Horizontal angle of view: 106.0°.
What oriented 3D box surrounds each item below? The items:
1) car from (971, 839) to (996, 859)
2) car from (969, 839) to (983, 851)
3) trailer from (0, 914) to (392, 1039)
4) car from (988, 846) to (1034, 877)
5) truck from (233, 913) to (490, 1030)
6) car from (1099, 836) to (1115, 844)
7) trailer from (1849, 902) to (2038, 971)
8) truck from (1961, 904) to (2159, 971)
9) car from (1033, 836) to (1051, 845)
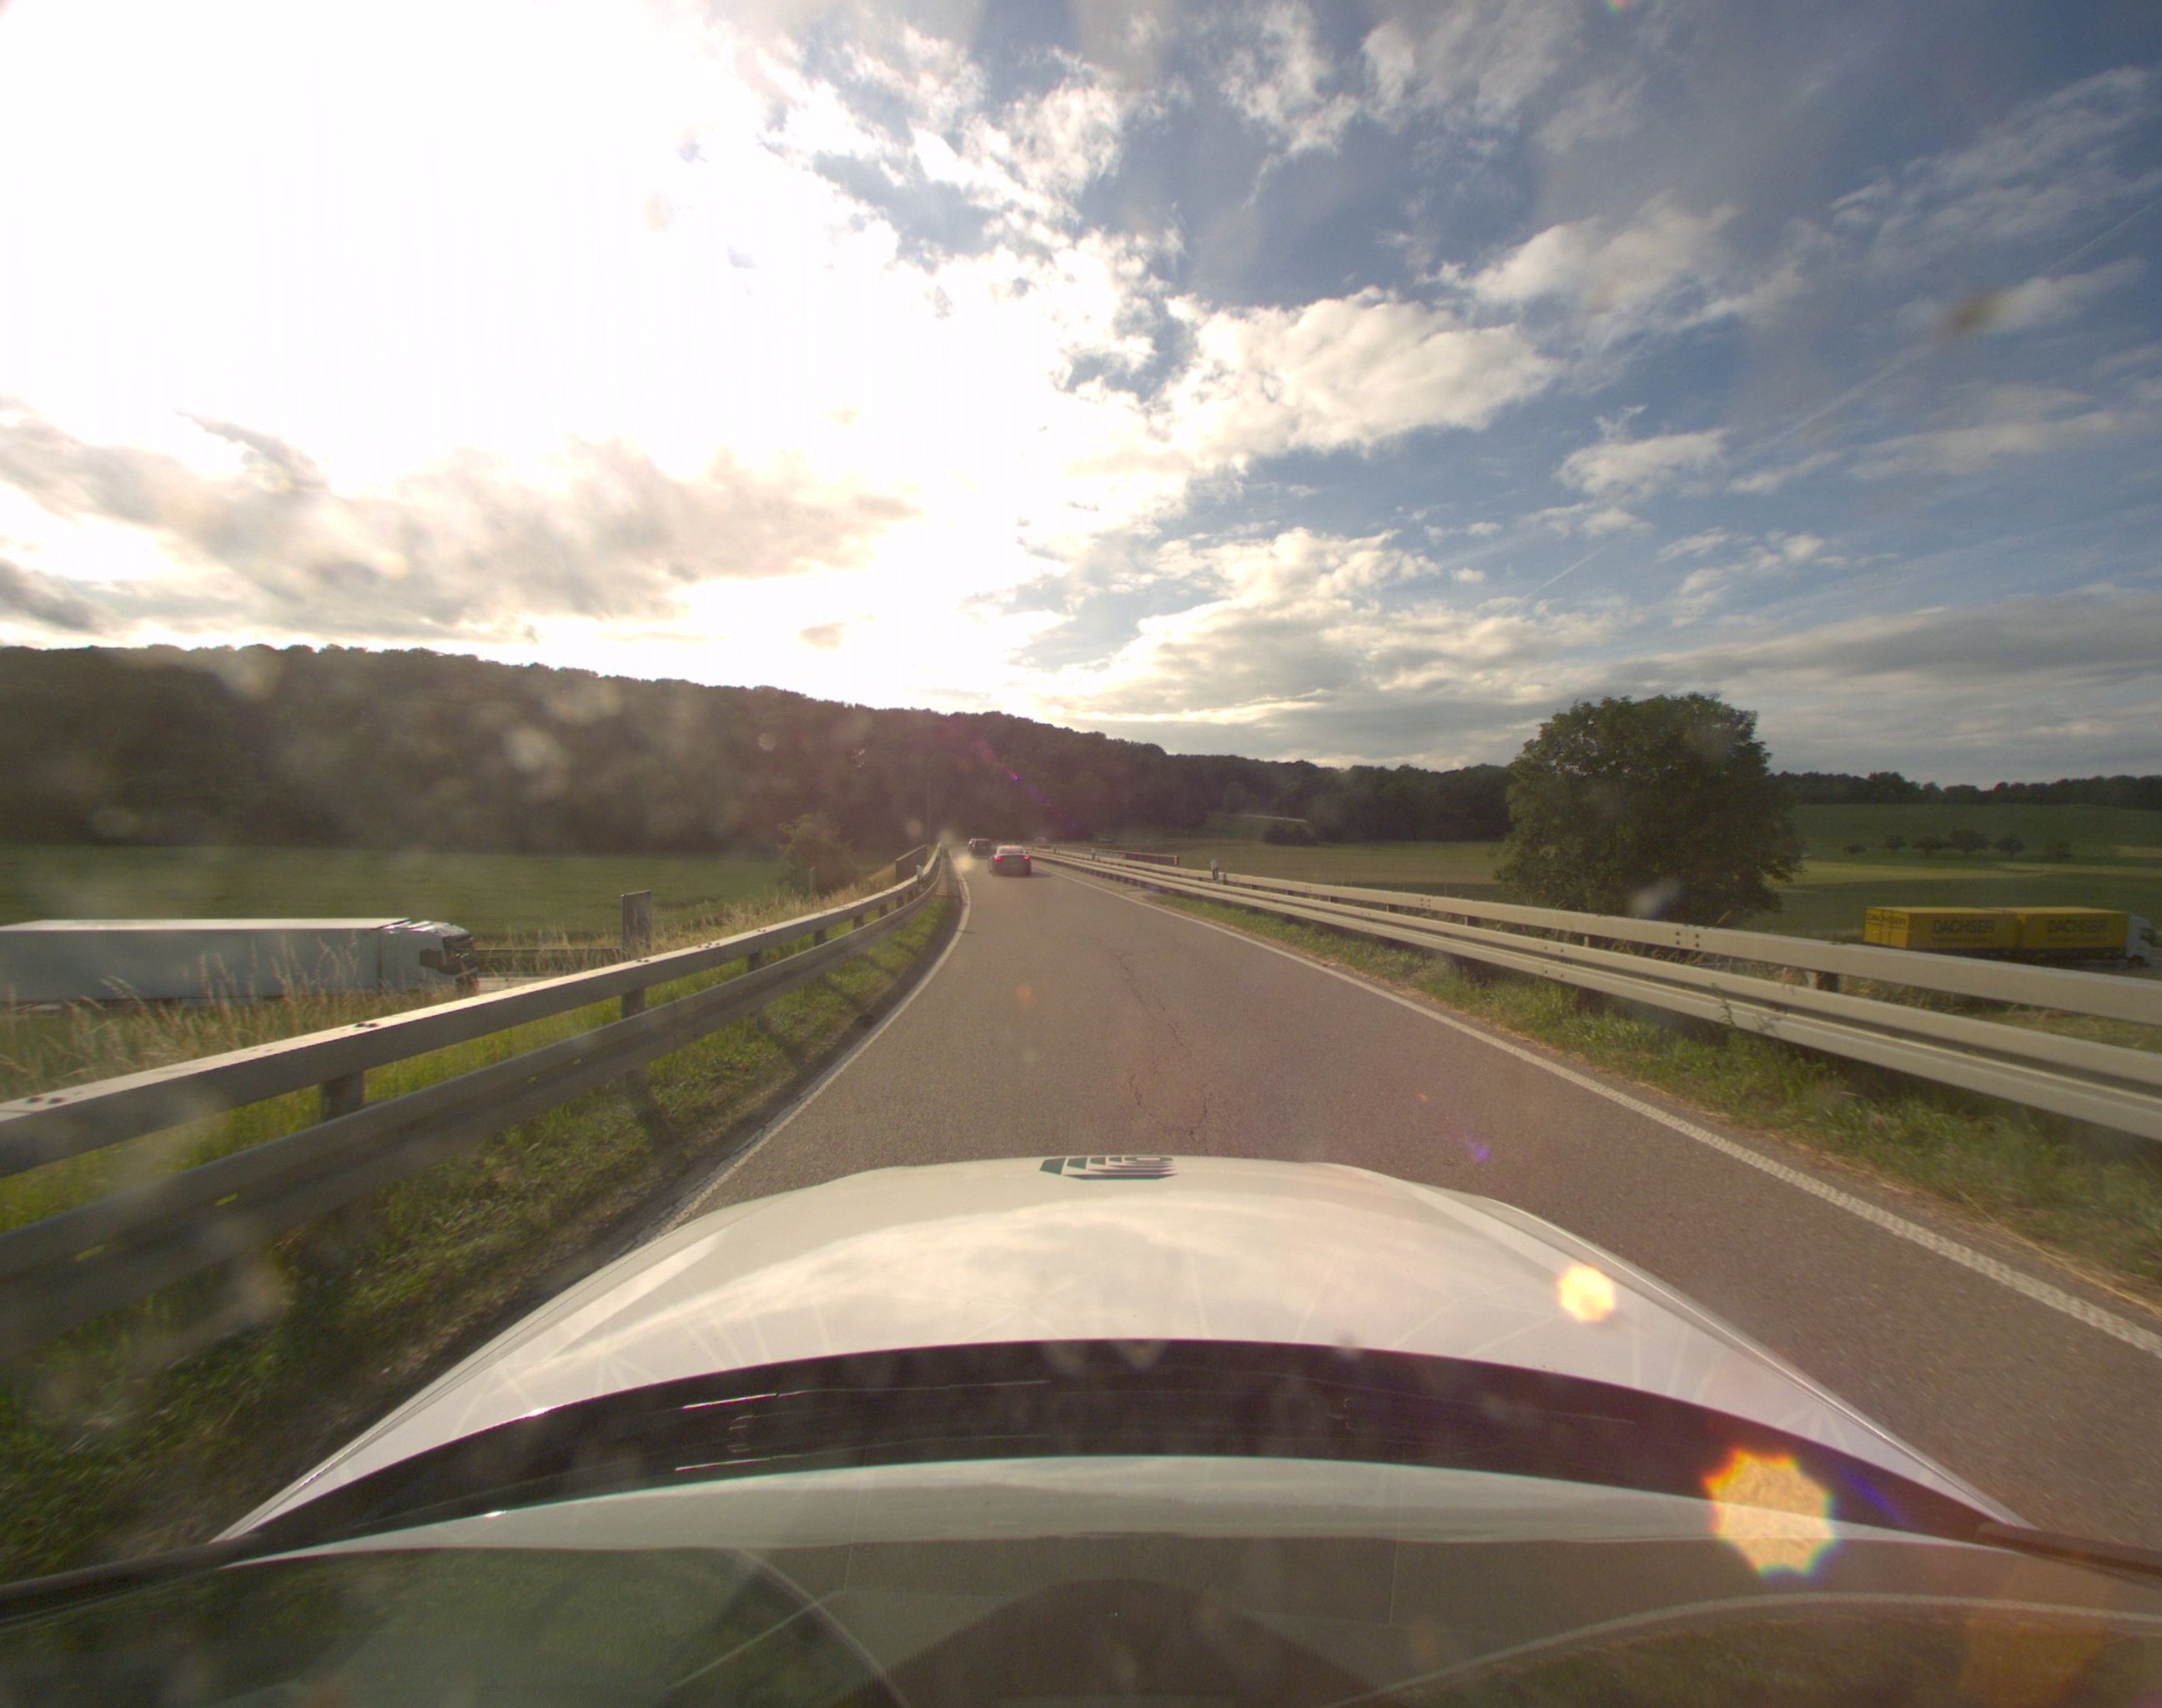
[{"bbox_3d":[-8.240,-0.478,68.596,1.863,1.568,3.985,1,1,-11],"label":"car"},{"bbox_3d":[-12.526,-1.076,97.003,1.681,1.376,3.990,1,1,-8],"label":"car"},{"bbox_3d":[-38.209,5.118,35.252,12.693,4.466,3.021,0,3,-12],"label":"trailer"},{"bbox_3d":[-3.399,0.335,39.040,1.818,1.339,4.336,-1,1,-10],"label":"car"},{"bbox_3d":[-31.938,5.120,36.578,8.033,4.466,3.019,0,3,-11],"label":"truck"},{"bbox_3d":[6.376,-3.450,200.694,1.974,1.771,4.026,0,1,36],"label":"car"},{"bbox_3d":[55.292,5.240,52.355,9.094,4.060,3.826,1,-1,-8],"label":"trailer"},{"bbox_3d":[64.440,5.402,53.711,9.764,4.060,3.826,1,-1,-8],"label":"truck"},{"bbox_3d":[-8.105,-2.737,169.392,1.975,1.679,4.202,2,0,25],"label":"car"}]
